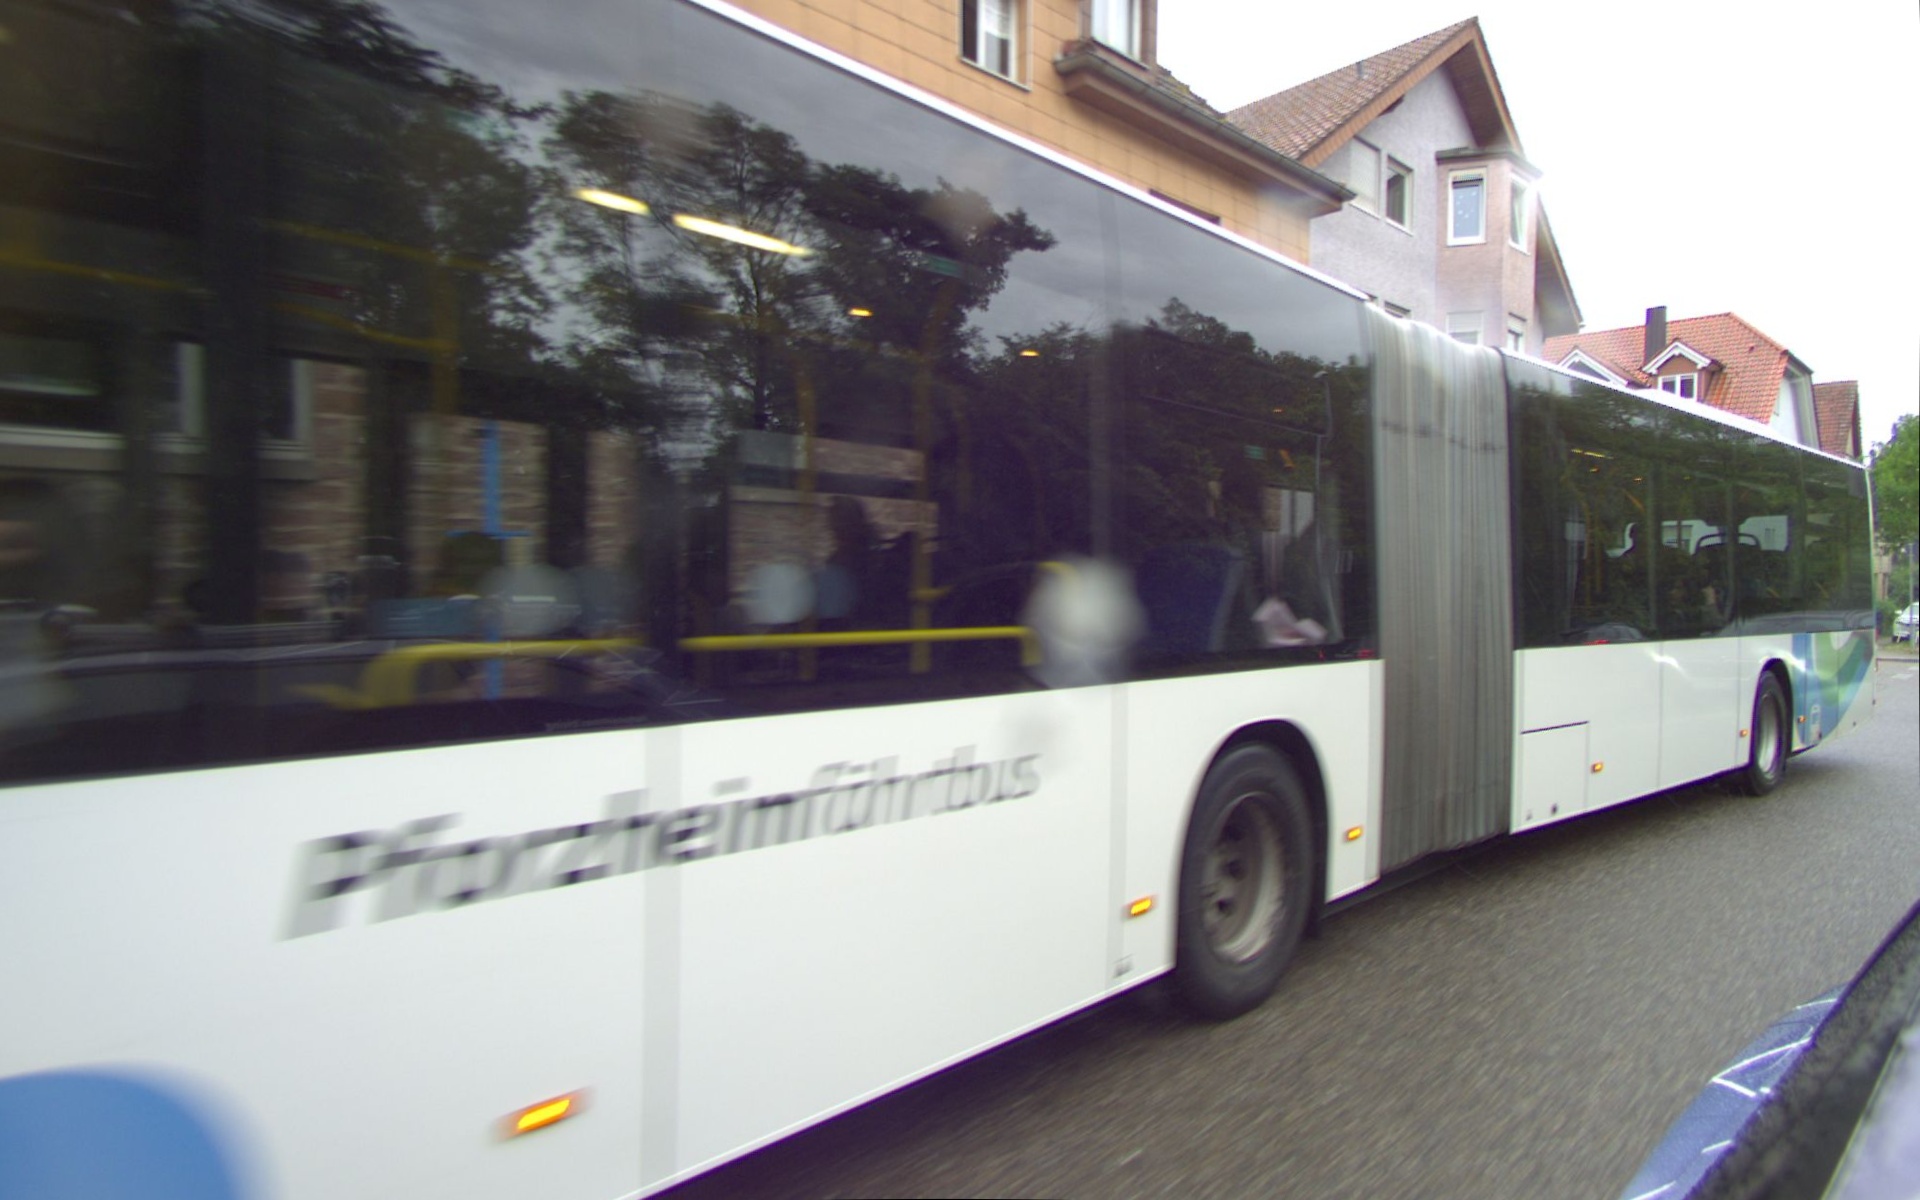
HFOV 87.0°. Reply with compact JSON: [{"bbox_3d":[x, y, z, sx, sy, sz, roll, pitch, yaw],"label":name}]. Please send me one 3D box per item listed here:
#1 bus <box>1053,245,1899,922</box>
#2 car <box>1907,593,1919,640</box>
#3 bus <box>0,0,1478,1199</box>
[{"bbox_3d":[4.728,-0.086,8.046,8.398,2.996,2.563,0,1,-37],"label":"bus"},{"bbox_3d":[36.654,0.656,37.526,4.406,1.682,1.925,1,1,-43],"label":"car"},{"bbox_3d":[-1.900,-0.111,2.458,9.289,2.996,2.560,0,1,-43],"label":"bus"}]
